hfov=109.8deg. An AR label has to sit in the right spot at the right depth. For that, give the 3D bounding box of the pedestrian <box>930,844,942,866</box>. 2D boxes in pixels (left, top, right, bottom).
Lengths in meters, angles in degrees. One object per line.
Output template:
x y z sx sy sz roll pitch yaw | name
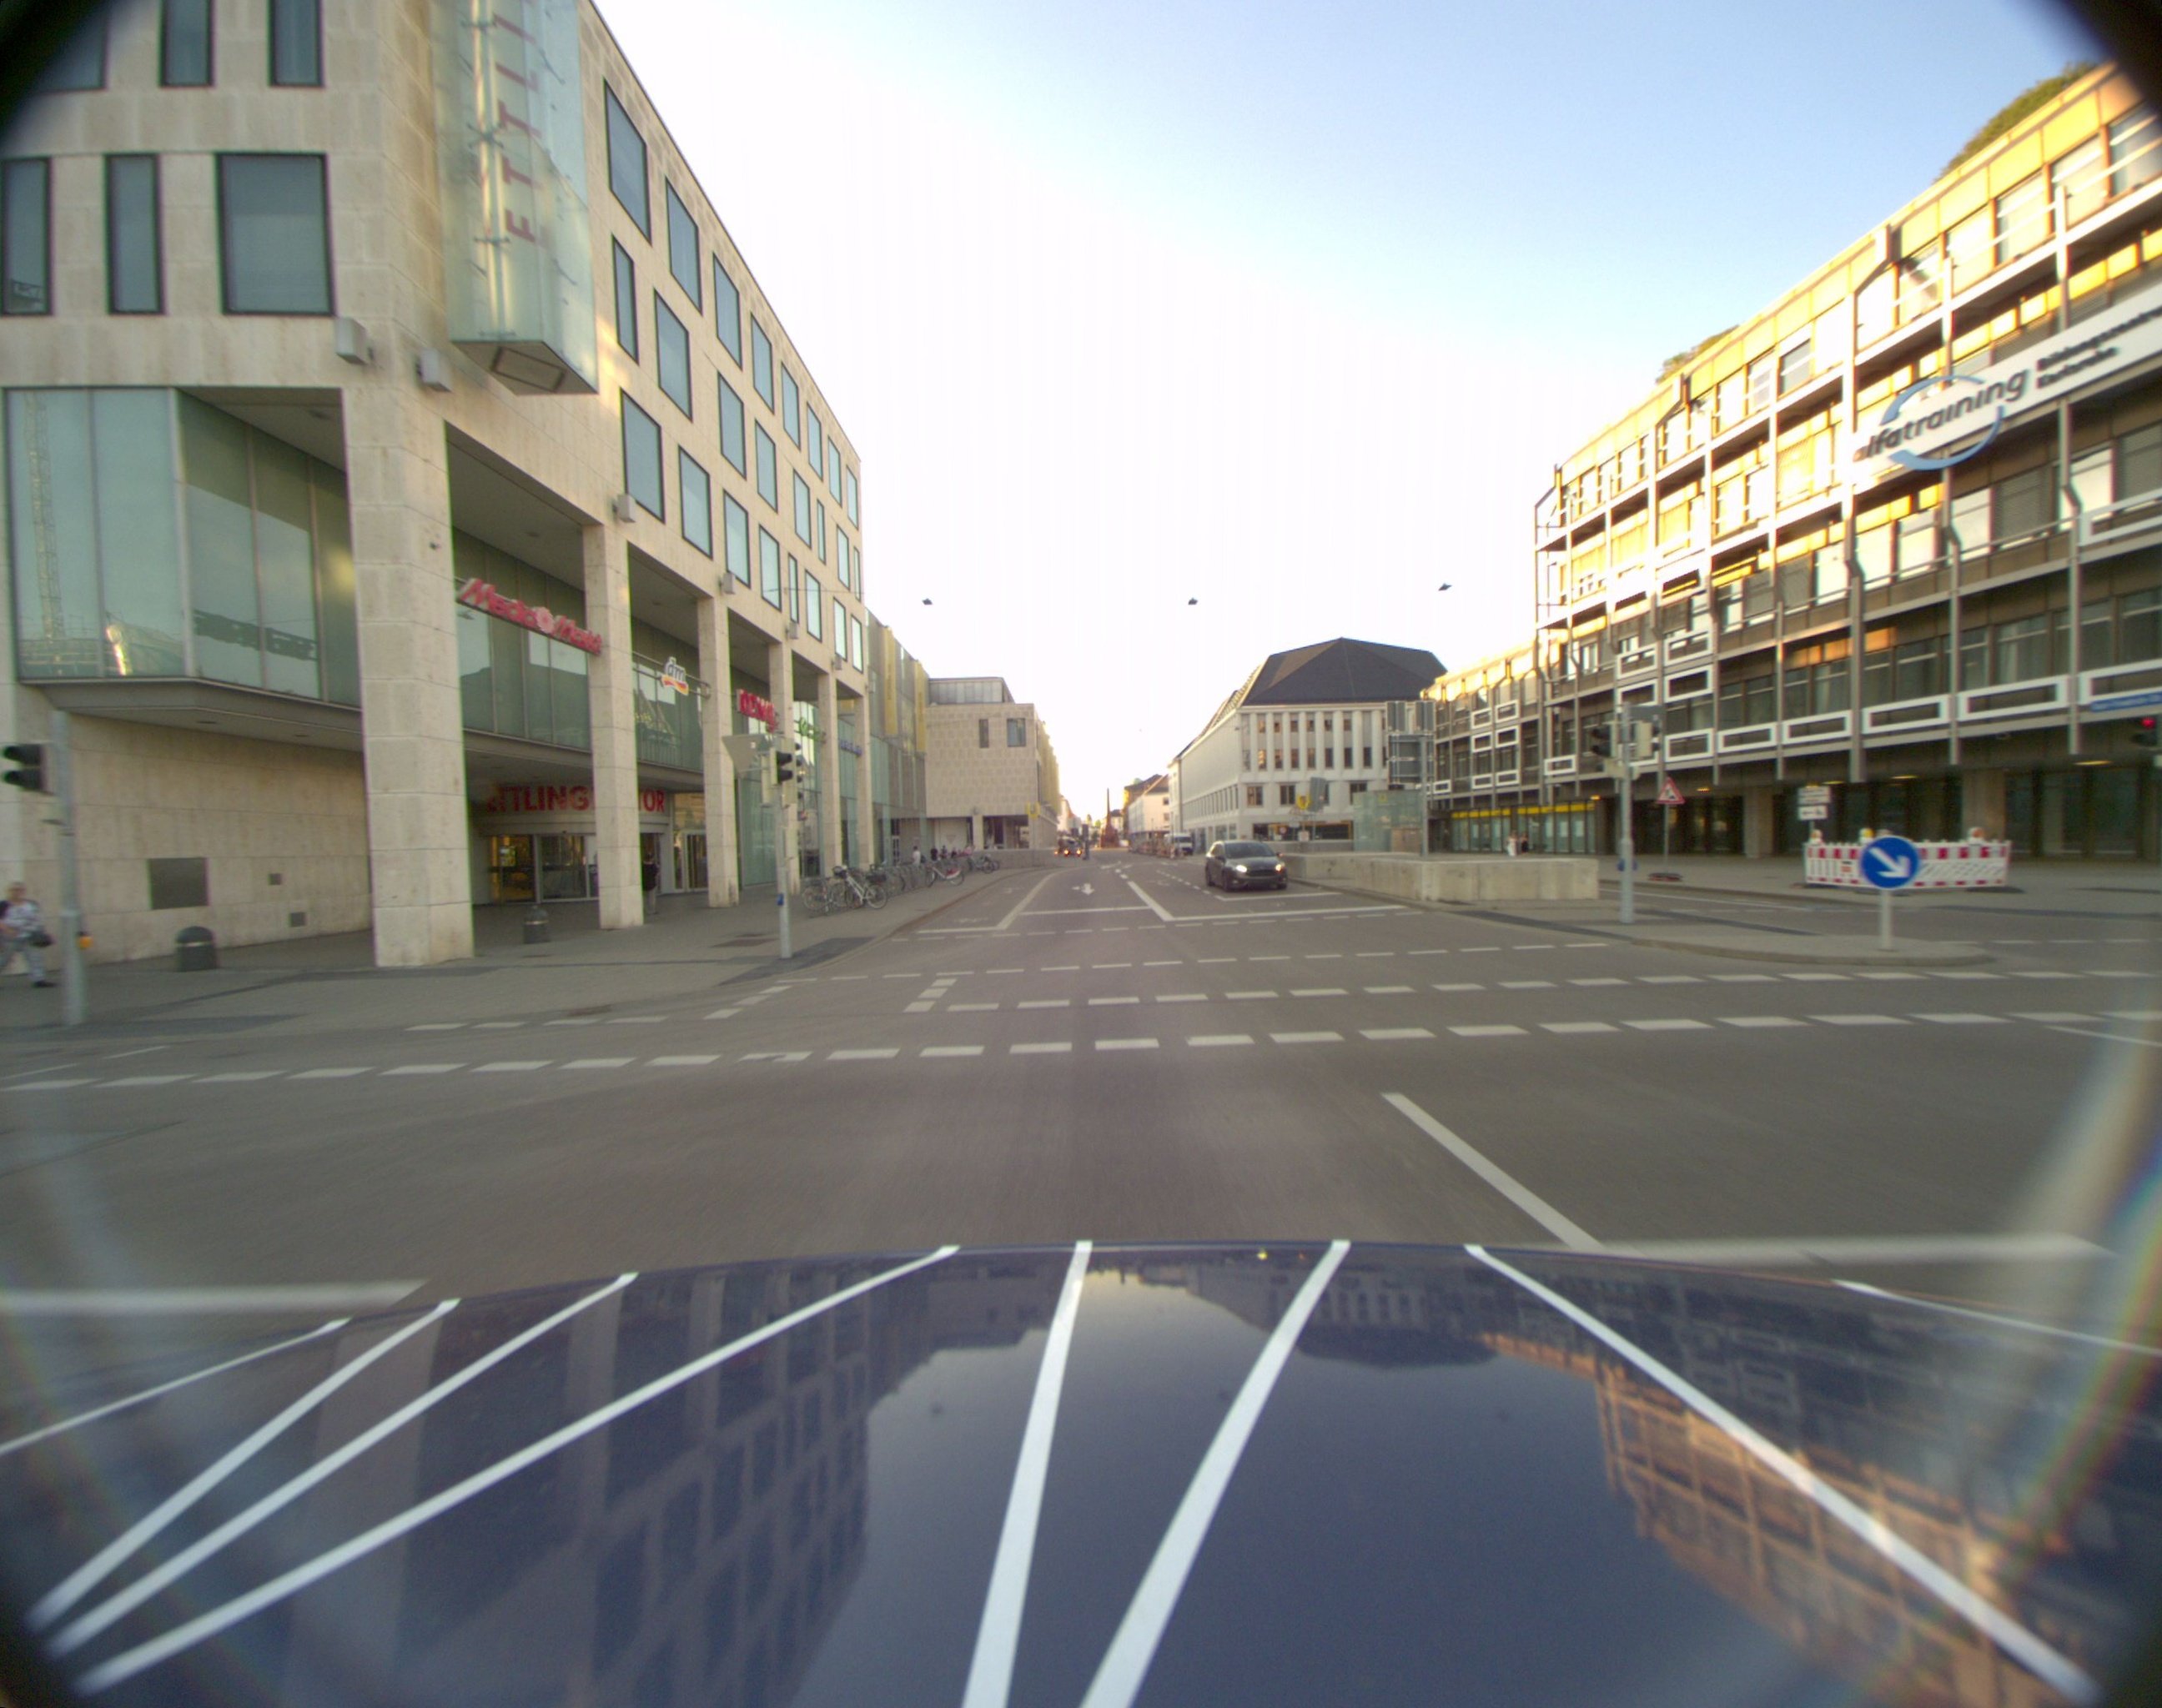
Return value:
-10.680 0.069 56.012 0.740 1.638 0.820 -2 2 -5 | pedestrian

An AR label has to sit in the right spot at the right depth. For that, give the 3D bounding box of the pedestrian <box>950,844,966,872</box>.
-7.283 0.253 45.021 0.809 1.633 0.645 -2 2 -19 | pedestrian

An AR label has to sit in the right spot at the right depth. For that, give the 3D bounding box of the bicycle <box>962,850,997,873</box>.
-5.640 0.415 42.294 1.838 1.140 0.466 -4 2 1 | bicycle

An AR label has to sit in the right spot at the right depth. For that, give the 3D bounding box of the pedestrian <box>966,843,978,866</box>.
-8.586 0.035 59.852 0.793 1.734 0.941 -1 2 2 | pedestrian

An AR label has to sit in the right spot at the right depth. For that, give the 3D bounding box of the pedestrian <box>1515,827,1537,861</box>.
21.537 -0.474 36.793 0.616 1.630 0.702 -1 2 0 | pedestrian

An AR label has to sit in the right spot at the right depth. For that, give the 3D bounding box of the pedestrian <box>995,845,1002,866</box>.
-6.770 0.098 62.435 0.516 1.734 0.492 -1 2 2 | pedestrian

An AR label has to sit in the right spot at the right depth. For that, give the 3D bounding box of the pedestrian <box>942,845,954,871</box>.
-9.299 0.265 53.041 0.619 1.770 0.812 -1 2 2 | pedestrian

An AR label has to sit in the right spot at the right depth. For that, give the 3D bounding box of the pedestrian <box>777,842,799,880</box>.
-13.158 0.302 34.106 0.629 1.642 0.708 -1 2 1 | pedestrian

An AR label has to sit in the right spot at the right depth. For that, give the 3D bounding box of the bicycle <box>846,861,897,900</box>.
-7.240 0.917 26.322 1.518 1.220 0.618 -4 2 -1 | bicycle

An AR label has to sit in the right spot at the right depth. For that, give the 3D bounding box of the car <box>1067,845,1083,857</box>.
-0.701 -0.398 91.199 1.798 1.365 3.670 -1 1 2 | car

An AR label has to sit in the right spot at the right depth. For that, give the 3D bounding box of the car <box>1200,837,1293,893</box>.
4.908 0.253 23.194 1.762 1.454 4.378 -3 1 -1 | car

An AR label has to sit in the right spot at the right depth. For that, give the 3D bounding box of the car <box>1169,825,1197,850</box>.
11.113 -1.804 83.288 2.142 2.541 6.048 -1 1 0 | car

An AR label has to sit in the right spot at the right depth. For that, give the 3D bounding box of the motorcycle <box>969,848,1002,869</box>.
-6.040 0.282 48.051 2.007 1.217 0.480 -2 2 -3 | motorcycle

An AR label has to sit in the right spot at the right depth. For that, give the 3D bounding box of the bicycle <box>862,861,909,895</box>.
-7.190 0.871 27.939 1.519 1.099 0.552 -4 2 -3 | bicycle

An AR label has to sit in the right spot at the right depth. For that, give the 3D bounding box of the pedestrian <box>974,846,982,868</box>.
-8.283 0.248 61.287 0.494 1.734 0.656 -1 2 2 | pedestrian

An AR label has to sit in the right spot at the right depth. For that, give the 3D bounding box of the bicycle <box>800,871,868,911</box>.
-7.057 1.049 21.760 1.774 1.072 0.482 -1 2 -7 | bicycle

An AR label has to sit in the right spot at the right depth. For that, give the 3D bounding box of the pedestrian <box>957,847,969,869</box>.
-9.490 0.323 61.002 0.793 1.734 0.656 -1 2 2 | pedestrian

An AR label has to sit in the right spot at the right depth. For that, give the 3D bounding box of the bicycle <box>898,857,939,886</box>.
-6.914 0.752 32.358 1.518 1.118 0.580 -4 2 4 | bicycle

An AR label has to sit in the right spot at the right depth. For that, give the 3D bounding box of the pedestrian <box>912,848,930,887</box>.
-7.061 0.583 33.570 0.708 1.683 0.629 -2 2 -8 | pedestrian

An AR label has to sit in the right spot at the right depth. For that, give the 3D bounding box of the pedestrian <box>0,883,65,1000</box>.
-15.015 1.207 10.570 0.668 1.537 0.725 -2 2 -12 | pedestrian

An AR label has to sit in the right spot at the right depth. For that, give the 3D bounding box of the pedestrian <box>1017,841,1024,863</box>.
-4.799 -0.162 60.586 0.455 1.734 0.492 -1 2 2 | pedestrian

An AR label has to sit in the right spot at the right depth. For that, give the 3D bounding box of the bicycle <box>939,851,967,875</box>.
-6.893 0.487 41.038 1.345 1.157 0.518 -4 2 -1 | bicycle

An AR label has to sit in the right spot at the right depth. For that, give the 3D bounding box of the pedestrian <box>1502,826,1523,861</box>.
20.882 -0.510 36.767 0.670 1.630 0.583 -1 2 0 | pedestrian

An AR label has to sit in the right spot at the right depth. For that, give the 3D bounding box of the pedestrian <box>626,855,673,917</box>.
-11.717 0.859 20.637 0.793 1.629 0.708 -1 2 0 | pedestrian

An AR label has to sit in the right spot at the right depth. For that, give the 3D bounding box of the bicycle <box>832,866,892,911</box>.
-6.063 0.956 21.077 1.482 1.177 0.548 -1 2 5 | bicycle

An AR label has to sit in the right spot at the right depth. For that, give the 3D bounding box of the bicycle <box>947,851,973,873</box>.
-6.865 0.455 43.123 1.345 1.157 0.518 -4 2 -1 | bicycle

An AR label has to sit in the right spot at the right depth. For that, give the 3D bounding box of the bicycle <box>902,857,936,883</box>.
-7.454 0.741 35.031 1.447 1.059 0.580 -4 2 -11 | bicycle

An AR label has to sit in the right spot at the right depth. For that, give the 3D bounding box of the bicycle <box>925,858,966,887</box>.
-5.493 0.734 30.910 1.518 1.057 0.466 -4 2 1 | bicycle

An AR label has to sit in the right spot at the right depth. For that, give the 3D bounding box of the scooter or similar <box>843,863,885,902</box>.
-6.990 0.902 24.467 1.197 1.192 0.492 -1 2 -4 | scooter or similar

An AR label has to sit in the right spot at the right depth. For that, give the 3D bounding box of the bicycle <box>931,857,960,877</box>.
-6.852 0.665 38.468 1.345 0.927 0.518 -4 2 -1 | bicycle

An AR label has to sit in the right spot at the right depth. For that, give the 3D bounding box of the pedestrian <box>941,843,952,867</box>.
-9.898 0.080 56.020 0.698 1.686 0.820 -2 2 -5 | pedestrian
